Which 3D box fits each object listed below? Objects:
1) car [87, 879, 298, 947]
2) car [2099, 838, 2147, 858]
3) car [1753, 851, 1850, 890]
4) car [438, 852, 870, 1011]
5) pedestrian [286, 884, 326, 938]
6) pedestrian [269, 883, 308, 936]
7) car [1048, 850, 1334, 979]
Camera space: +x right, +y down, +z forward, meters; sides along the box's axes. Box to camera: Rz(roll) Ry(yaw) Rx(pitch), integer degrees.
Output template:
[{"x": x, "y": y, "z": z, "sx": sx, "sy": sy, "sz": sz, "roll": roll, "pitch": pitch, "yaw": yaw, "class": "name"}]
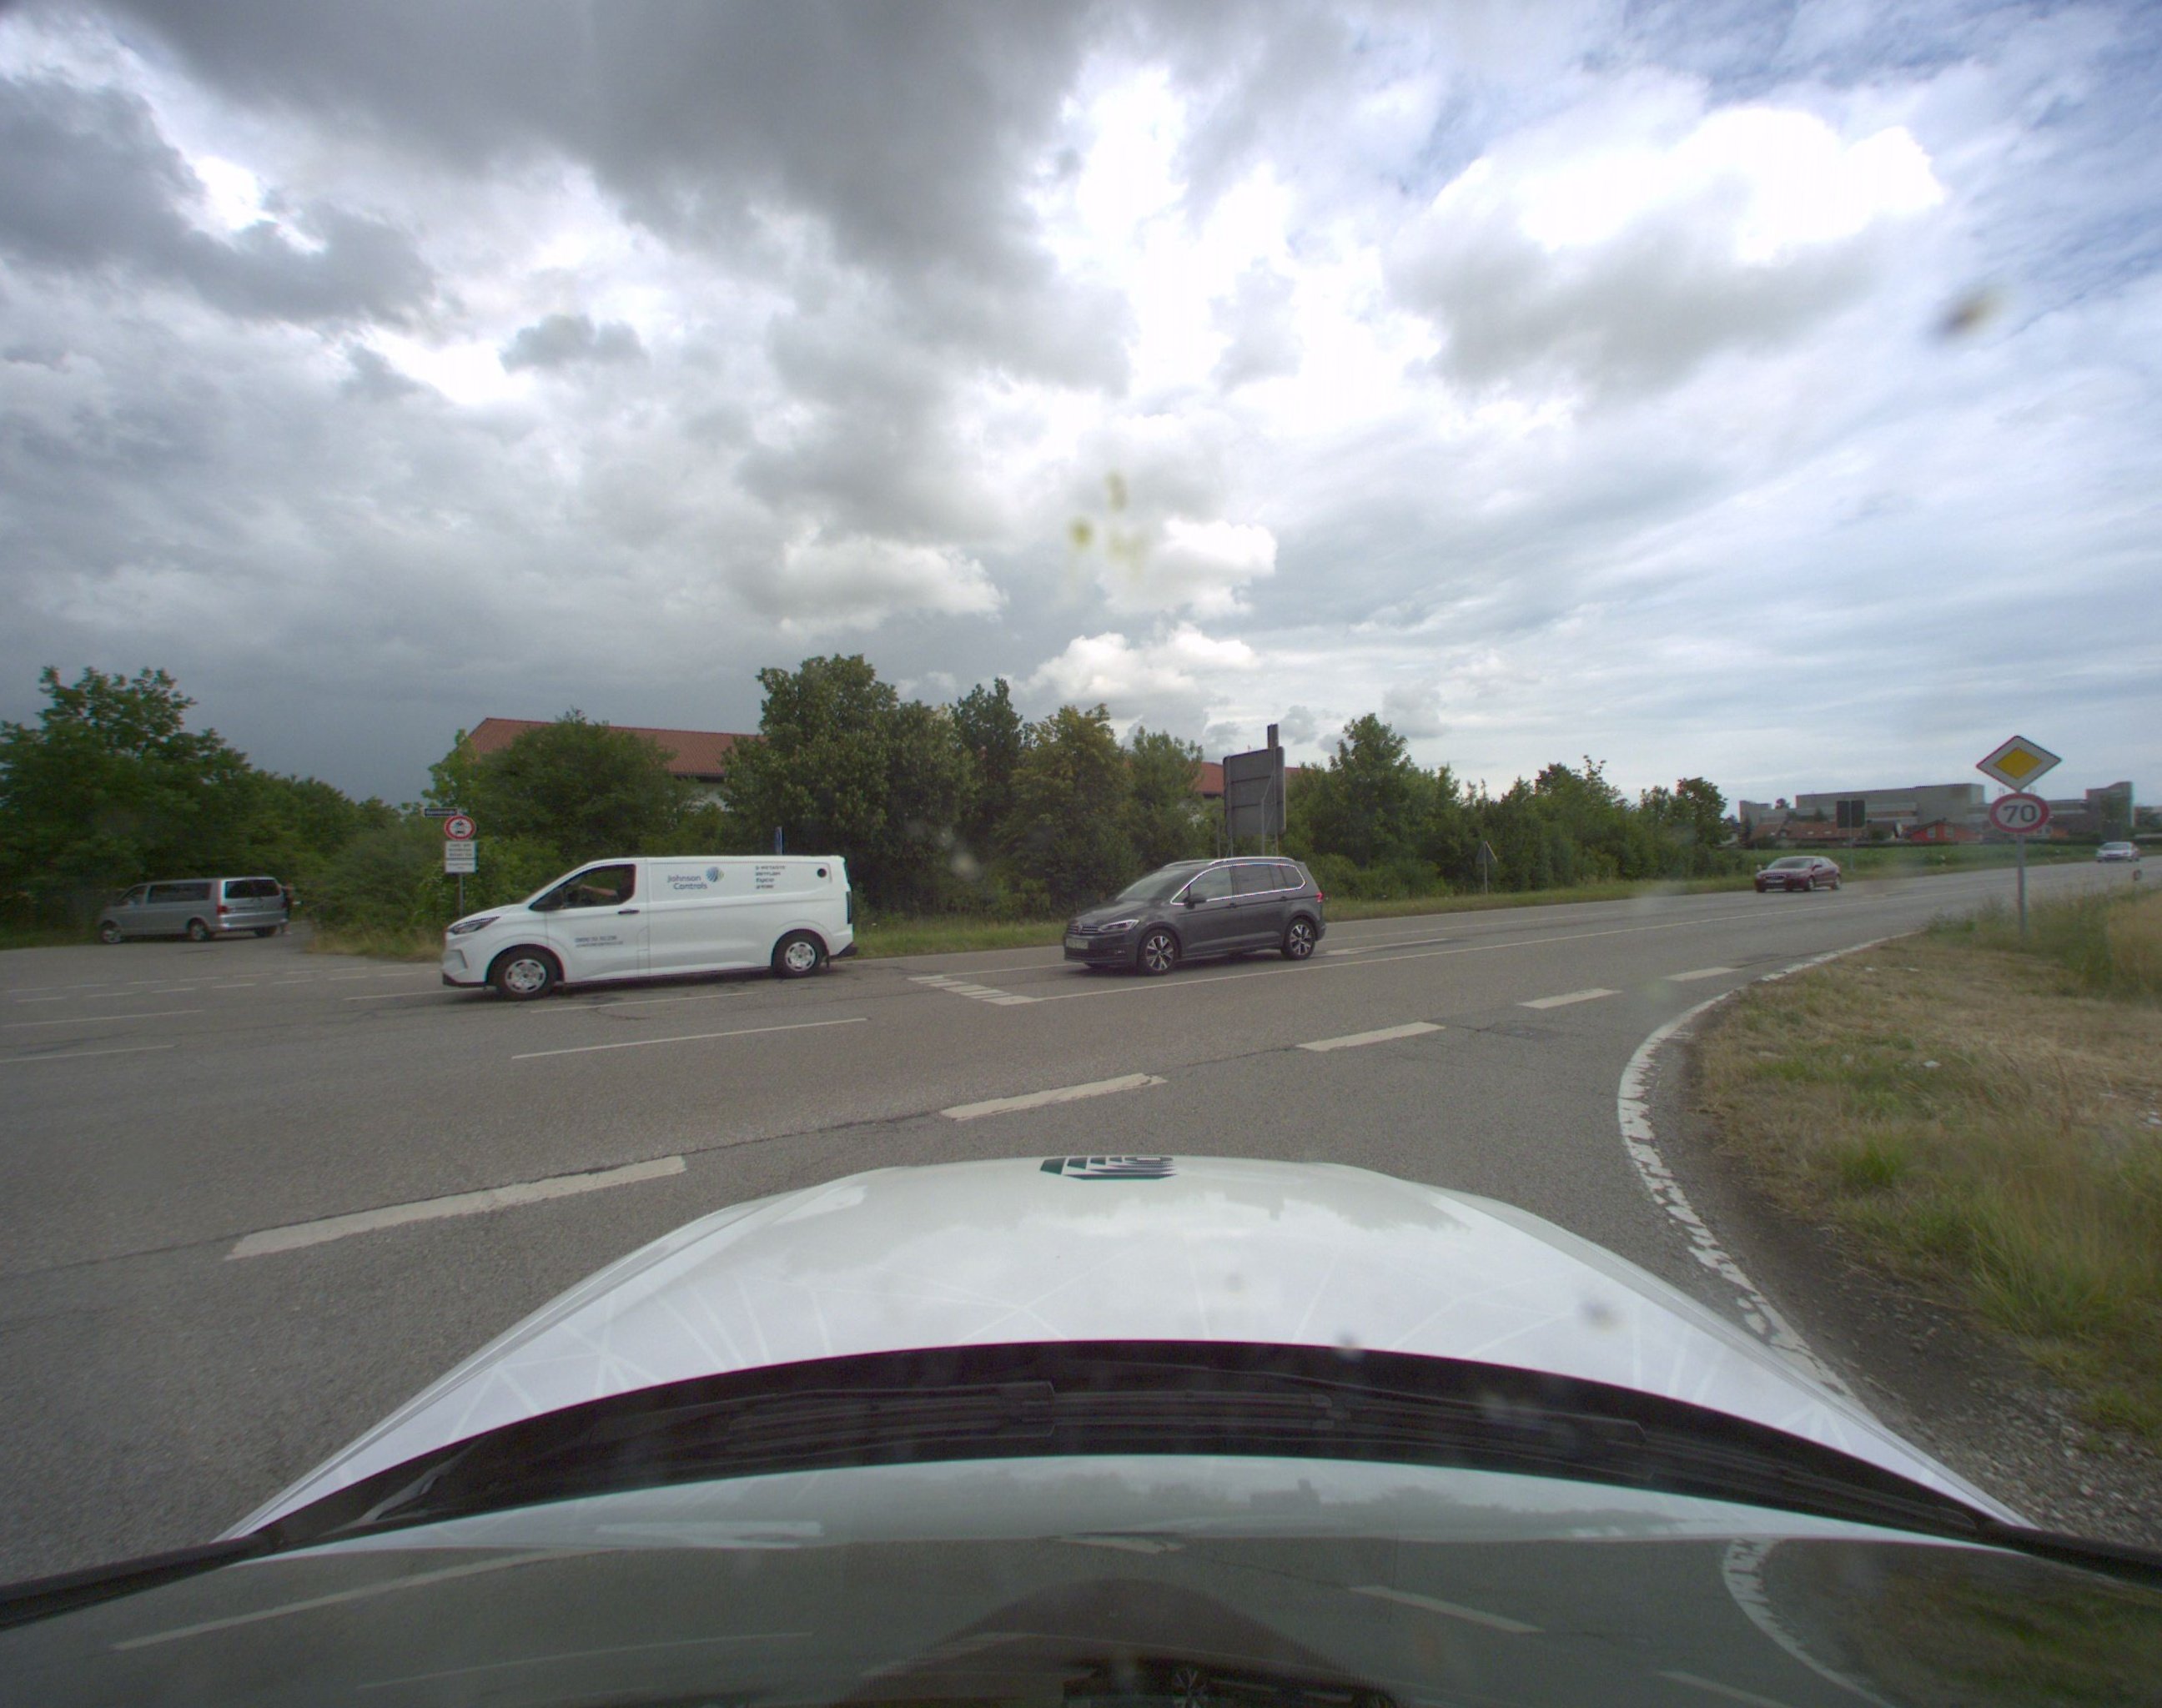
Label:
[{"x": -28.469, "y": 1.864, "z": 26.163, "sx": 5.052, "sy": 1.886, "sz": 2.119, "roll": -2, "pitch": 0, "yaw": 10, "class": "car"}, {"x": 79.282, "y": -0.467, "z": 61.955, "sx": 3.948, "sy": 1.432, "sz": 1.718, "roll": -1, "pitch": -2, "yaw": -32, "class": "car"}, {"x": 29.055, "y": 0.647, "z": 32.818, "sx": 4.102, "sy": 1.402, "sz": 1.661, "roll": -2, "pitch": -2, "yaw": -30, "class": "car"}, {"x": -6.224, "y": 0.990, "z": 12.455, "sx": 5.408, "sy": 1.886, "sz": 2.092, "roll": -1, "pitch": -1, "yaw": -31, "class": "car"}, {"x": -25.530, "y": 1.857, "z": 26.835, "sx": 0.727, "sy": 1.723, "sz": 0.785, "roll": -1, "pitch": -1, "yaw": -27, "class": "pedestrian"}, {"x": -26.602, "y": 1.857, "z": 27.352, "sx": 0.704, "sy": 1.723, "sz": 0.727, "roll": -1, "pitch": -1, "yaw": -23, "class": "pedestrian"}, {"x": 1.794, "y": 0.848, "z": 12.873, "sx": 4.305, "sy": 1.658, "sz": 1.736, "roll": -1, "pitch": -2, "yaw": -31, "class": "car"}]
